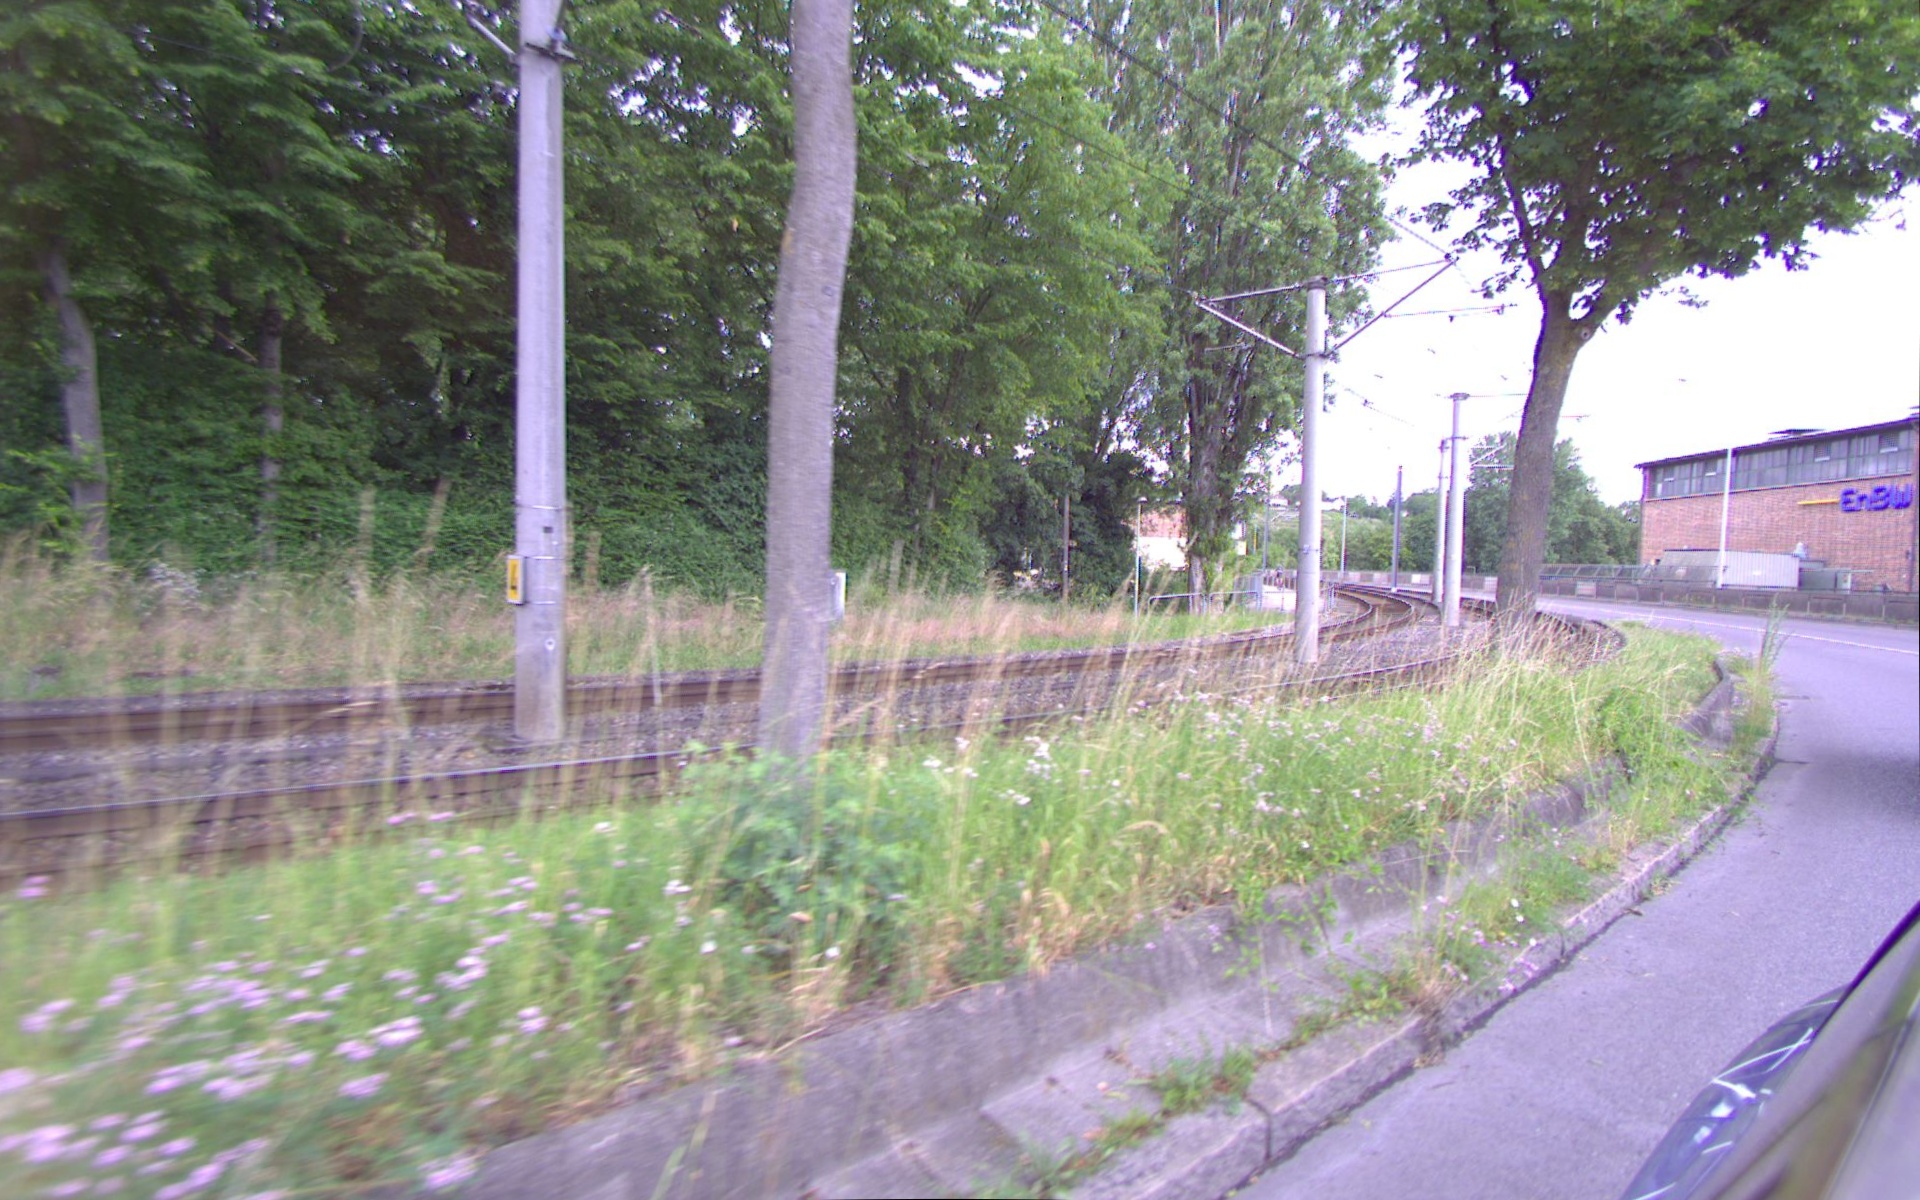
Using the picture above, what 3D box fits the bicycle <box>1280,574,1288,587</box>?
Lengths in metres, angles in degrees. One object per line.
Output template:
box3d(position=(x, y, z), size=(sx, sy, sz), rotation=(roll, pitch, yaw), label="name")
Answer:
box3d(position=(20.103, -1.222, 62.819), size=(0.344, 0.804, 1.537), rotation=(2, 2, 21), label="bicycle")
